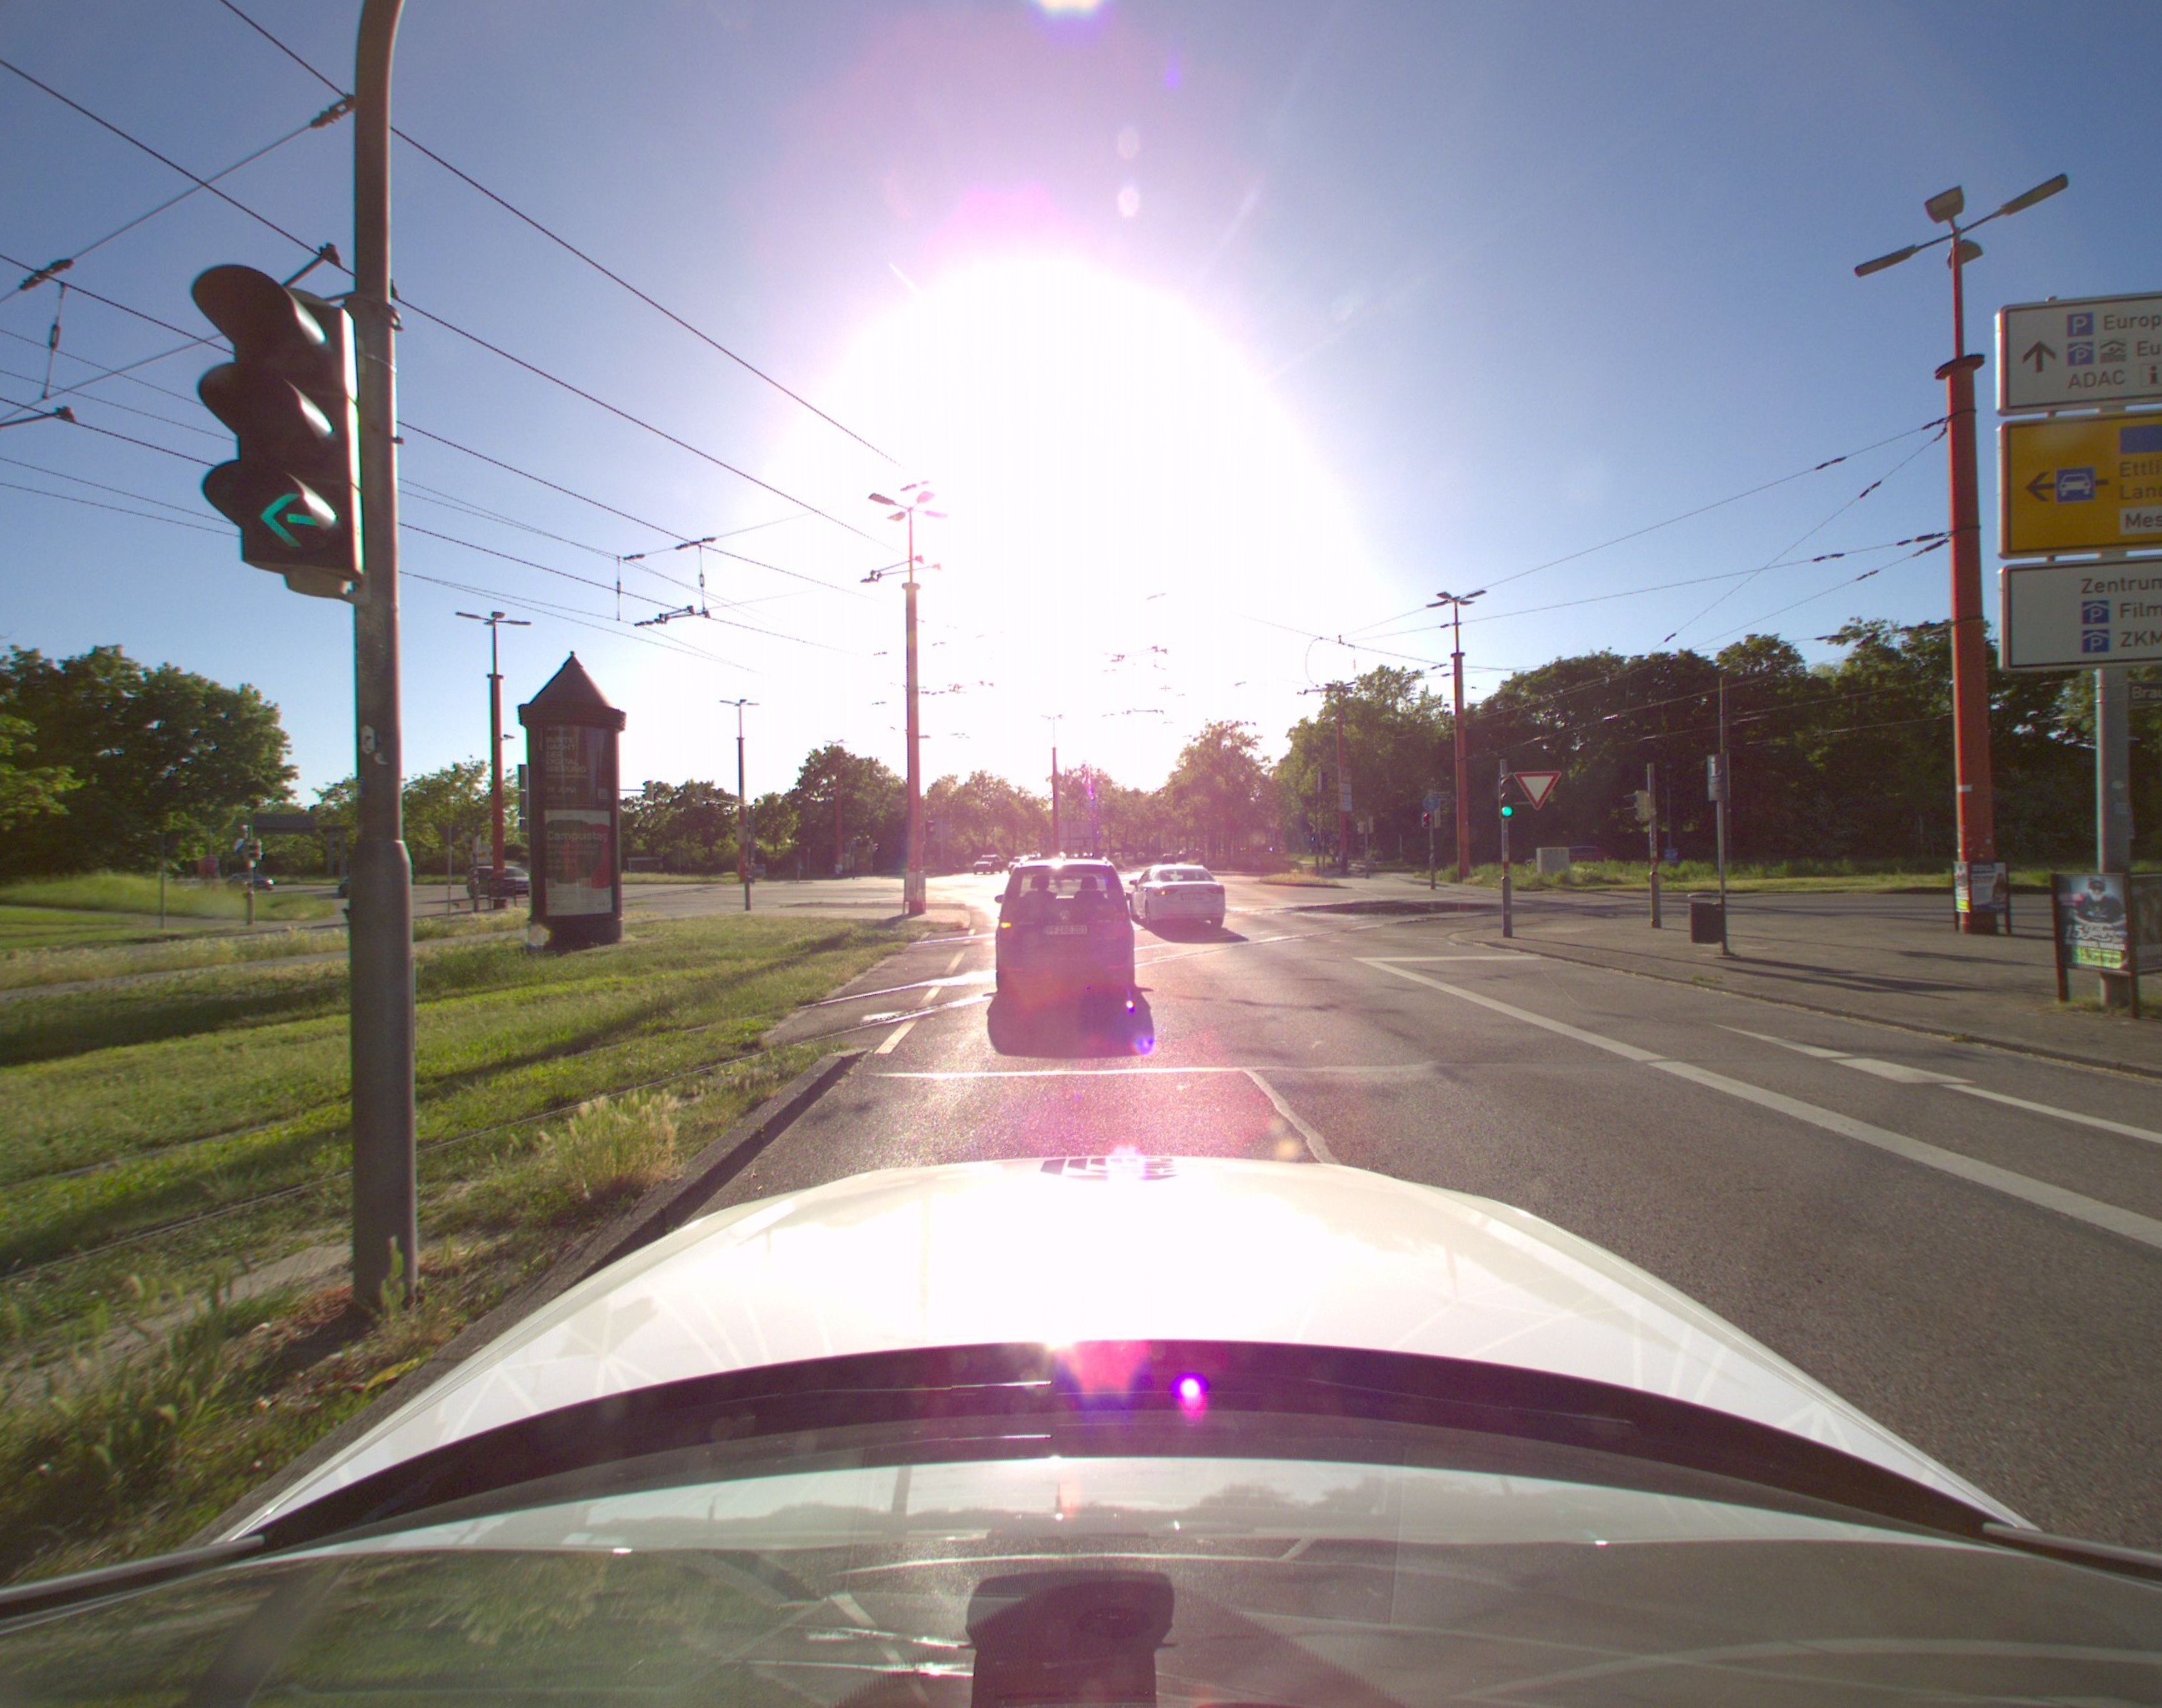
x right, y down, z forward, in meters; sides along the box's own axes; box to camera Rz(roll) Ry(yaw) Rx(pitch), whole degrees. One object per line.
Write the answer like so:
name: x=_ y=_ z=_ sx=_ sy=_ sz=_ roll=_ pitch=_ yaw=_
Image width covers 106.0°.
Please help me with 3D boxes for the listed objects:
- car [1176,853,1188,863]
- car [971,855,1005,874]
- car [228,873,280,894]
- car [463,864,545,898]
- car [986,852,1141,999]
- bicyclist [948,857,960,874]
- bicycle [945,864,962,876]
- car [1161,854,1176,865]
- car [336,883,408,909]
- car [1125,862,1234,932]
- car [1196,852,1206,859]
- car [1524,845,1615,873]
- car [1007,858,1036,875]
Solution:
car: x=16.954 y=0.624 z=136.355 sx=1.862 sy=1.627 sz=4.009 roll=0 pitch=-1 yaw=8
car: x=-8.894 y=1.014 z=78.193 sx=1.890 sy=1.726 sz=4.666 roll=-1 pitch=0 yaw=10
car: x=-72.452 y=2.581 z=71.337 sx=4.508 sy=1.610 sz=1.916 roll=-1 pitch=1 yaw=27
car: x=-33.004 y=1.551 z=46.549 sx=4.390 sy=1.775 sz=1.916 roll=-1 pitch=1 yaw=27
car: x=-0.198 y=0.821 z=11.809 sx=1.762 sy=1.644 sz=4.922 roll=-1 pitch=0 yaw=0
bicyclist: x=-12.302 y=1.099 z=78.875 sx=0.753 sy=1.557 sz=0.985 roll=-2 pitch=0 yaw=17
bicycle: x=-12.316 y=1.531 z=78.799 sx=0.758 sy=1.091 sz=2.024 roll=-2 pitch=0 yaw=17
car: x=11.520 y=0.706 z=107.314 sx=1.781 sy=1.388 sz=4.055 roll=0 pitch=0 yaw=5
car: x=-46.592 y=2.740 z=53.529 sx=4.508 sy=1.474 sz=1.916 roll=-1 pitch=1 yaw=26
car: x=2.299 y=0.964 z=20.191 sx=1.765 sy=1.464 sz=4.357 roll=-1 pitch=0 yaw=-6
car: x=26.173 y=0.385 z=177.491 sx=1.778 sy=1.502 sz=4.063 roll=0 pitch=0 yaw=12
car: x=27.356 y=0.286 z=45.743 sx=4.235 sy=1.495 sz=2.012 roll=-1 pitch=0 yaw=27
car: x=-5.537 y=1.132 z=75.955 sx=1.757 sy=1.538 sz=4.102 roll=-1 pitch=0 yaw=9
